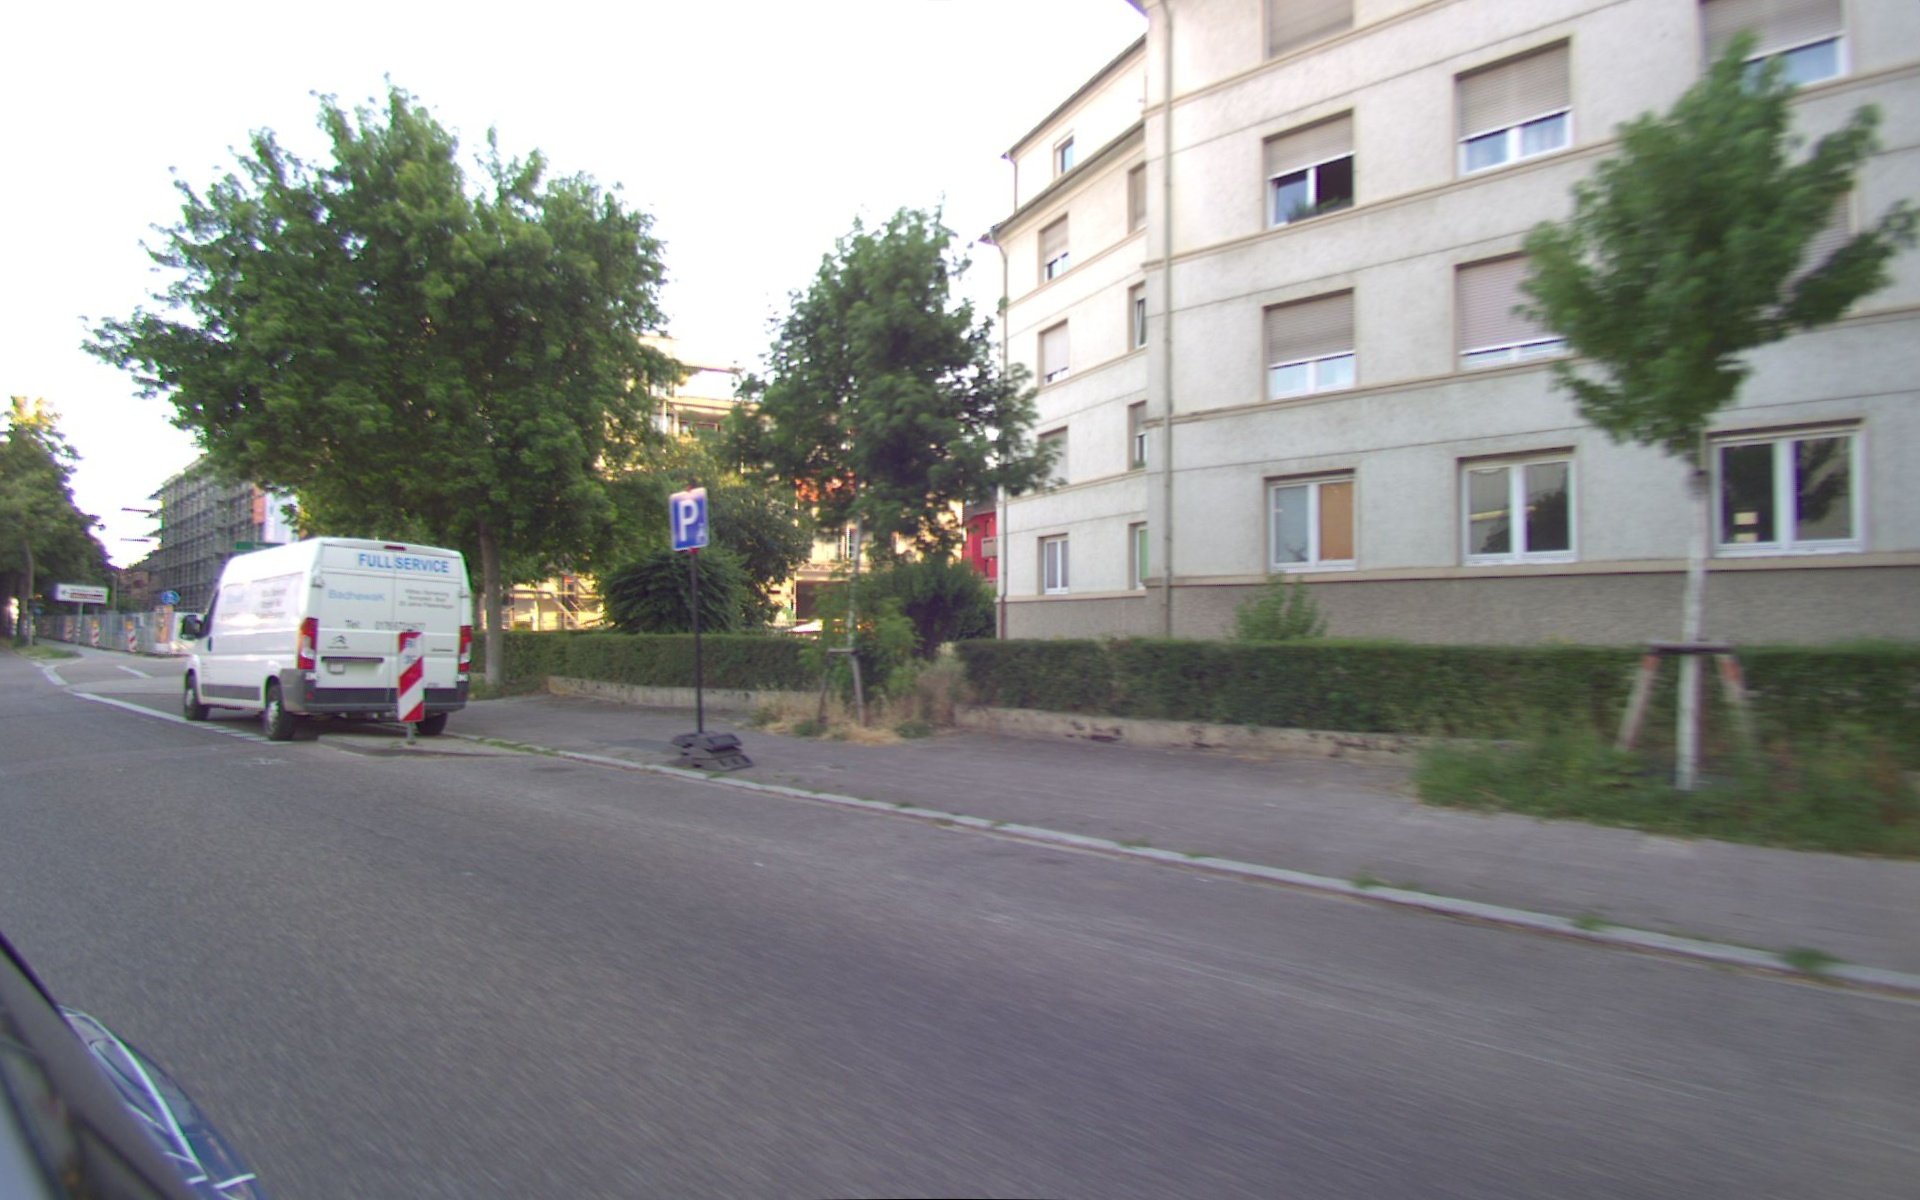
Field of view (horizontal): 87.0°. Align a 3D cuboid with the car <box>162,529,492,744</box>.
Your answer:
[{"bbox_3d":[-9.219,0.555,14.448,6.099,2.480,2.156,-2,-5,41],"label":"car"}]
